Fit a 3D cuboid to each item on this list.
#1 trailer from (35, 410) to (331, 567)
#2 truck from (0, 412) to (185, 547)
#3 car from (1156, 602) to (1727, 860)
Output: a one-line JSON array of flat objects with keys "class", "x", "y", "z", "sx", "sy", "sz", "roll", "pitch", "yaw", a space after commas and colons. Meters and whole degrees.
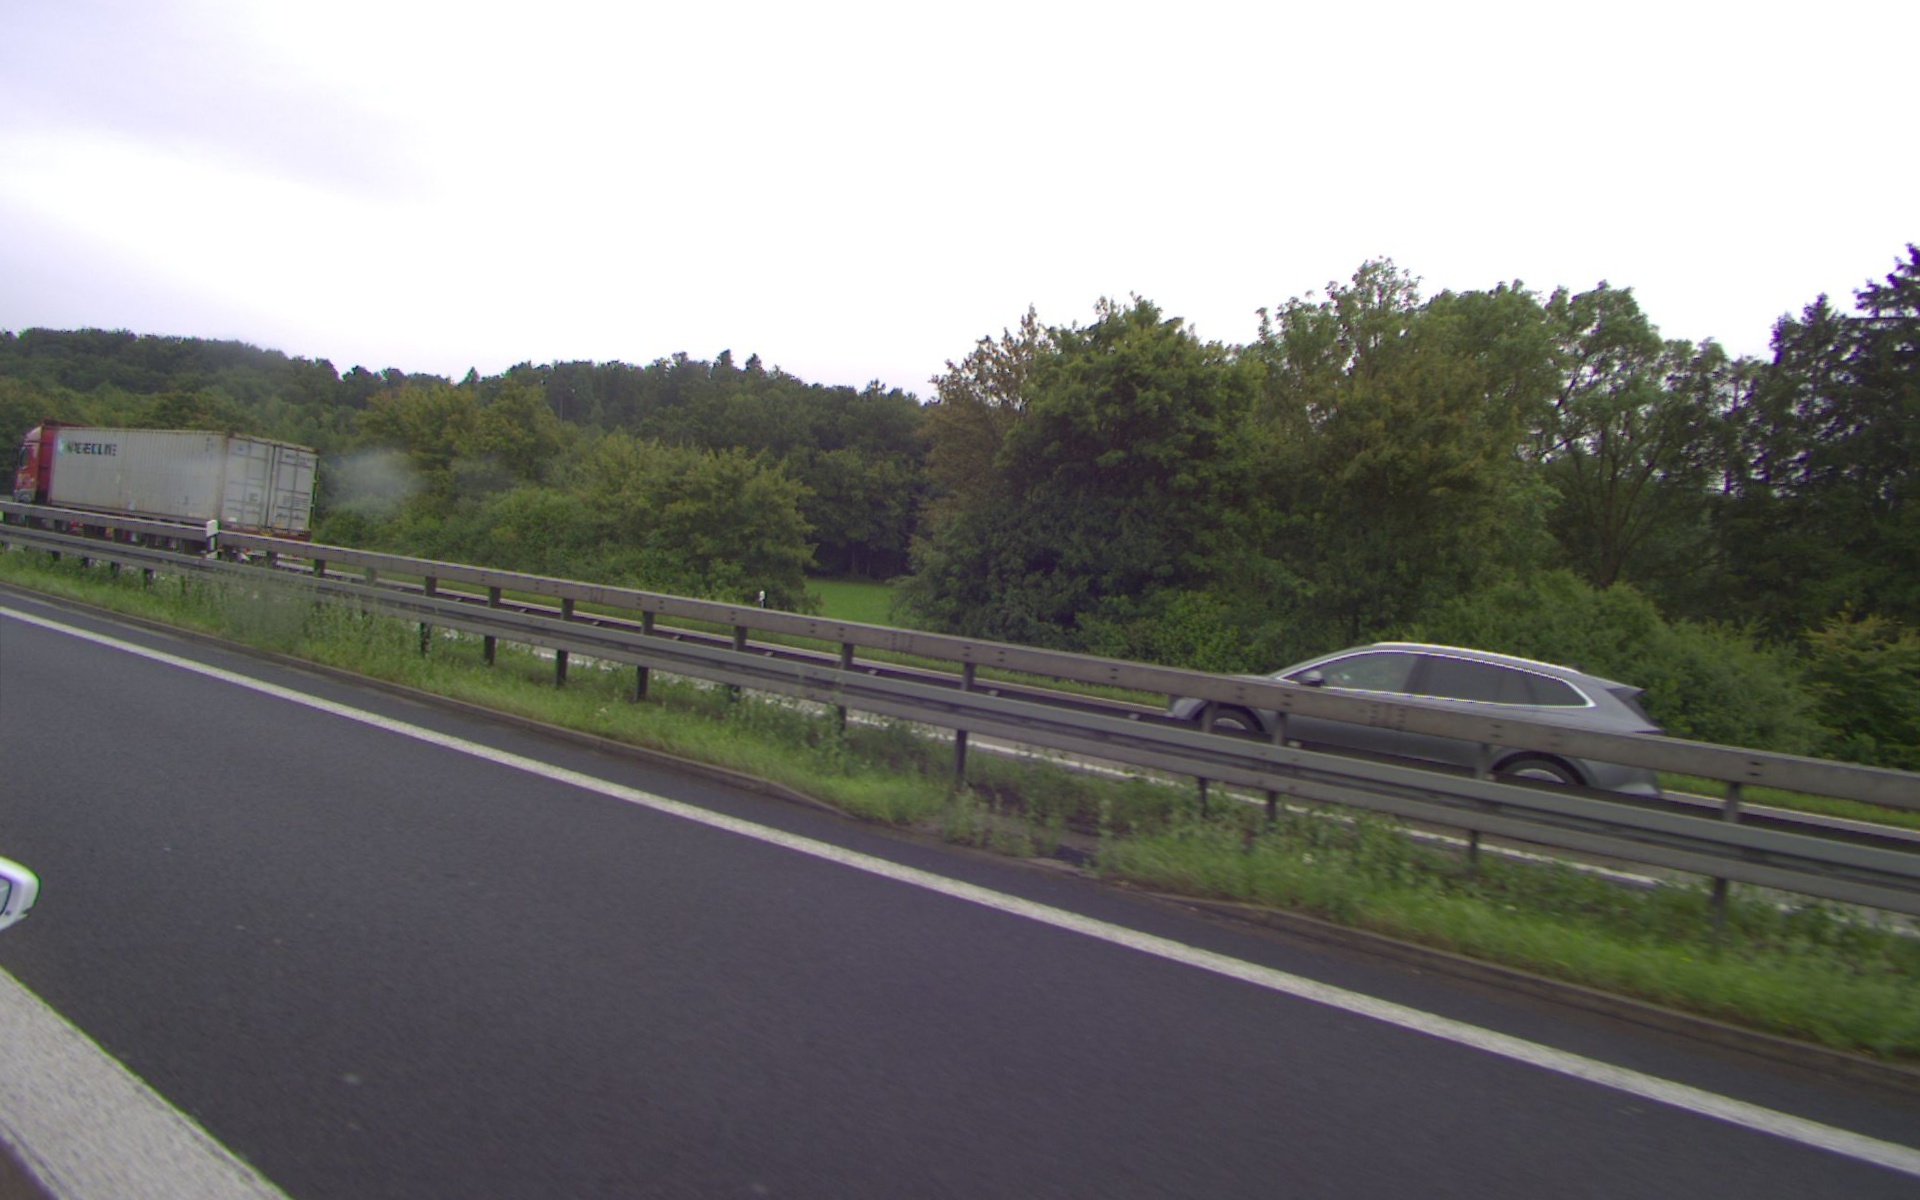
[{"class": "trailer", "x": -24.558, "y": -3.631, "z": 31.426, "sx": 12.279, "sy": 3.941, "sz": 2.609, "roll": 7, "pitch": -1, "yaw": 30}, {"class": "truck", "x": -29.784, "y": -4.169, "z": 34.492, "sx": 6.284, "sy": 3.931, "sz": 2.621, "roll": 7, "pitch": -1, "yaw": 30}, {"class": "car", "x": 4.502, "y": 1.127, "z": 9.962, "sx": 4.564, "sy": 1.629, "sz": 1.773, "roll": 7, "pitch": -1, "yaw": 30}]
